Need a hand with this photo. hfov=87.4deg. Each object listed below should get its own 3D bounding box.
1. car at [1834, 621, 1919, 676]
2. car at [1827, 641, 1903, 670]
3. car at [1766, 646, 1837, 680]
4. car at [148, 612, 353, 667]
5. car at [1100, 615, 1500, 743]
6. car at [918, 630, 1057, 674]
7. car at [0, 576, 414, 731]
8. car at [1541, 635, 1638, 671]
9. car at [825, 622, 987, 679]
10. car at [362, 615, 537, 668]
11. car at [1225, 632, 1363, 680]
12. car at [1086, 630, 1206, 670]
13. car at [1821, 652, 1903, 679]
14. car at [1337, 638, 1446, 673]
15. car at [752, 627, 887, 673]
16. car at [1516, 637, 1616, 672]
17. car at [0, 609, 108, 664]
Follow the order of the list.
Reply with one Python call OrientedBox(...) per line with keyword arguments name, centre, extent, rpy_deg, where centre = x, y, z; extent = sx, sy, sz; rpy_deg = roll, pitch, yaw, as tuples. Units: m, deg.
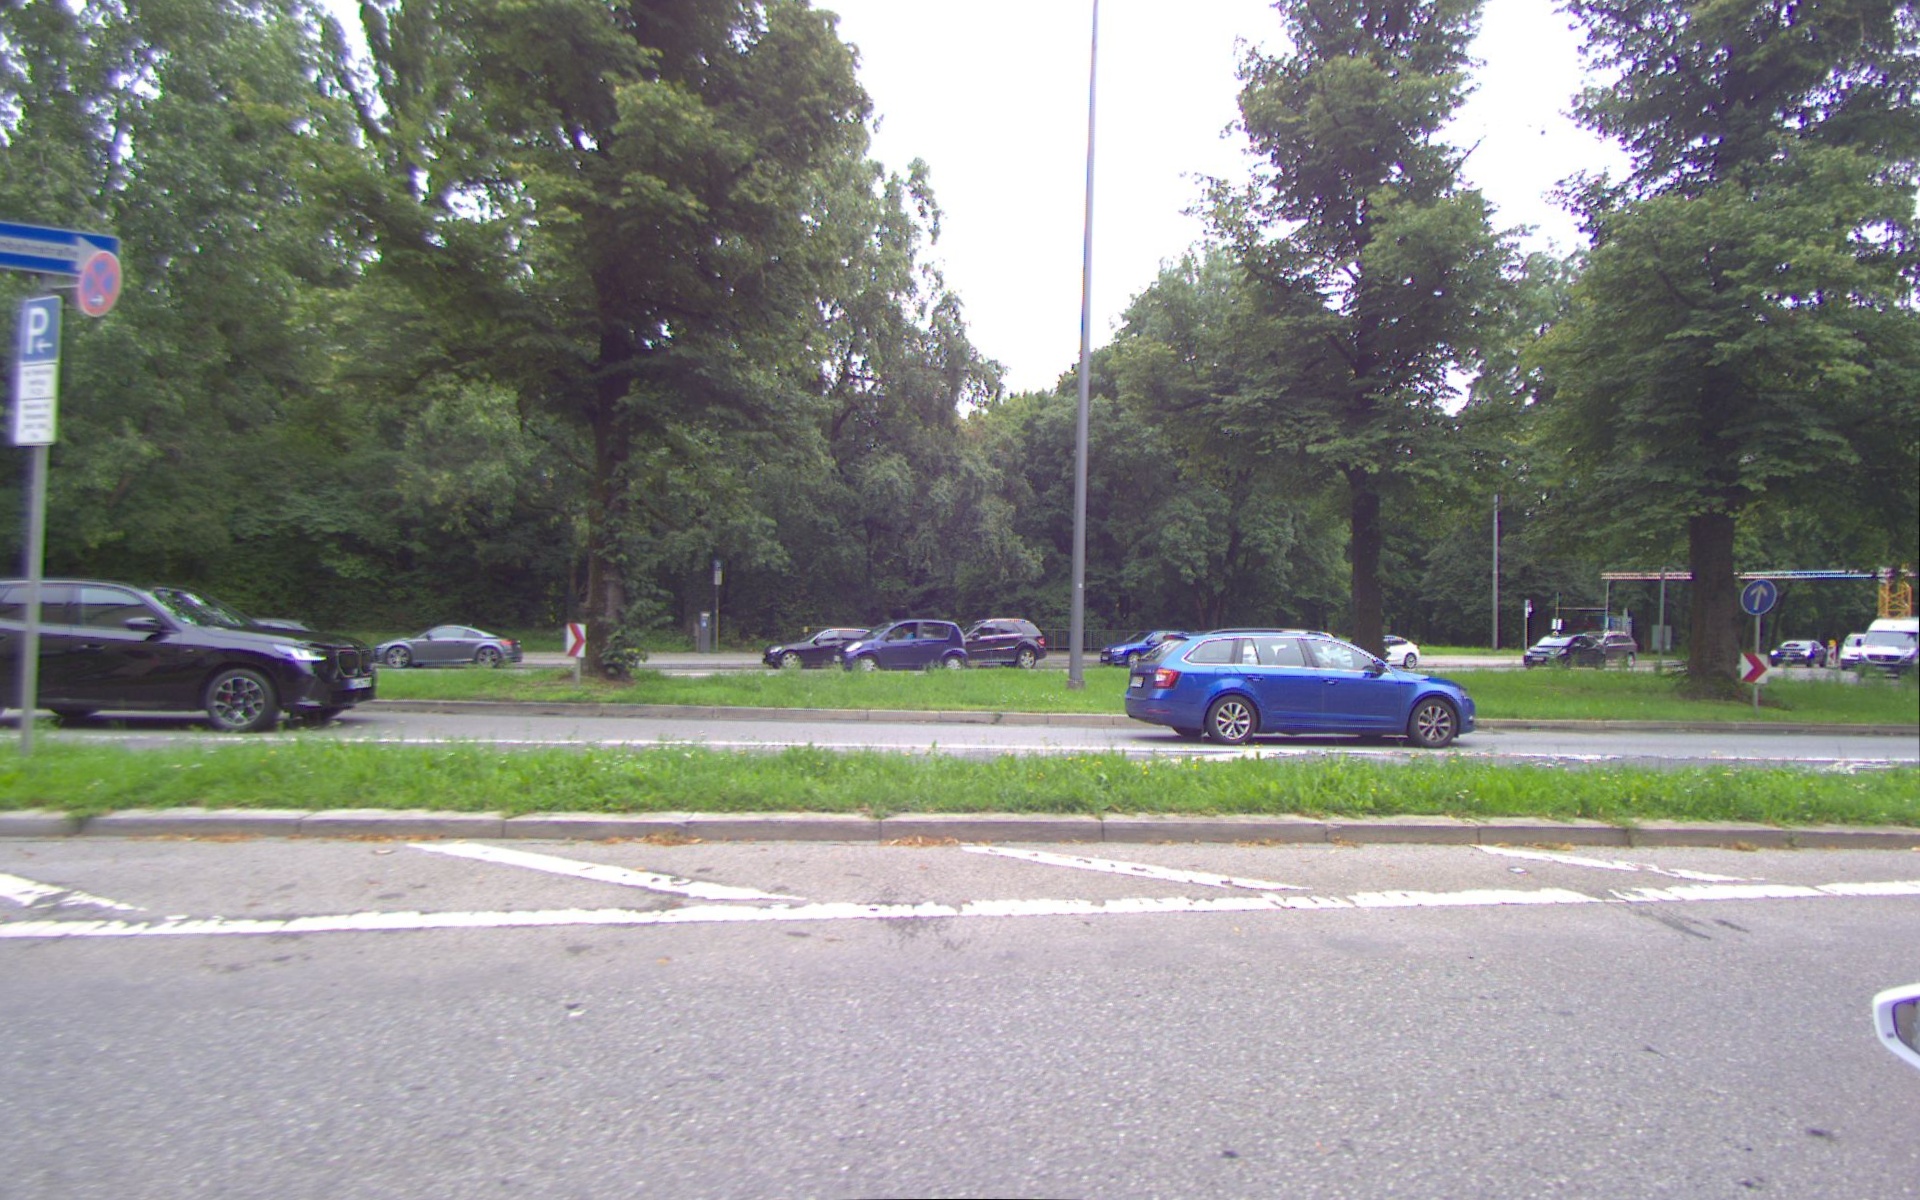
OrientedBox(name="car", centre=(41.816, 2.187, 44.839), extent=(5.056, 2.299, 2.295), rpy_deg=(2, -2, -24))
OrientedBox(name="car", centre=(48.281, 2.952, 53.572), extent=(4.251, 1.465, 1.882), rpy_deg=(2, -2, -31))
OrientedBox(name="car", centre=(49.144, 3.684, 58.647), extent=(3.947, 1.899, 1.740), rpy_deg=(2, -2, -26))
OrientedBox(name="car", centre=(-20.811, 1.184, 29.687), extent=(4.452, 1.465, 1.994), rpy_deg=(2, -2, -16))
OrientedBox(name="car", centre=(4.413, 1.024, 13.436), extent=(4.646, 1.473, 1.992), rpy_deg=(2, -1, -7))
OrientedBox(name="car", centre=(1.014, 1.917, 36.865), extent=(4.700, 1.465, 1.990), rpy_deg=(2, -3, -23))
OrientedBox(name="car", centre=(-9.439, 0.609, 11.941), extent=(4.740, 1.607, 1.917), rpy_deg=(2, -1, -7))
OrientedBox(name="car", centre=(32.027, 2.696, 51.081), extent=(4.583, 1.740, 1.989), rpy_deg=(2, -3, -24))
OrientedBox(name="car", centre=(-1.472, 1.369, 27.272), extent=(3.977, 1.465, 1.887), rpy_deg=(2, -2, -24))
OrientedBox(name="car", centre=(-15.578, 1.279, 30.926), extent=(4.452, 1.465, 1.994), rpy_deg=(2, -2, -16))
OrientedBox(name="car", centre=(10.947, 1.846, 32.917), extent=(4.179, 1.465, 1.822), rpy_deg=(3, -3, -25))
OrientedBox(name="car", centre=(7.407, 2.006, 39.960), extent=(4.362, 1.465, 1.989), rpy_deg=(2, -3, -24))
OrientedBox(name="car", centre=(51.581, 3.739, 57.426), extent=(4.327, 1.465, 1.887), rpy_deg=(2, -2, -24))
OrientedBox(name="car", centre=(19.110, 2.459, 44.463), extent=(4.362, 1.465, 1.989), rpy_deg=(2, -3, -24))
OrientedBox(name="car", centre=(-4.871, 1.736, 34.863), extent=(4.256, 1.465, 1.990), rpy_deg=(2, -3, -23))
OrientedBox(name="car", centre=(27.057, 2.435, 44.833), extent=(3.977, 1.465, 1.887), rpy_deg=(2, -2, -24))
OrientedBox(name="car", centre=(-26.772, 0.989, 27.881), extent=(4.248, 1.465, 1.993), rpy_deg=(2, -2, -17))
